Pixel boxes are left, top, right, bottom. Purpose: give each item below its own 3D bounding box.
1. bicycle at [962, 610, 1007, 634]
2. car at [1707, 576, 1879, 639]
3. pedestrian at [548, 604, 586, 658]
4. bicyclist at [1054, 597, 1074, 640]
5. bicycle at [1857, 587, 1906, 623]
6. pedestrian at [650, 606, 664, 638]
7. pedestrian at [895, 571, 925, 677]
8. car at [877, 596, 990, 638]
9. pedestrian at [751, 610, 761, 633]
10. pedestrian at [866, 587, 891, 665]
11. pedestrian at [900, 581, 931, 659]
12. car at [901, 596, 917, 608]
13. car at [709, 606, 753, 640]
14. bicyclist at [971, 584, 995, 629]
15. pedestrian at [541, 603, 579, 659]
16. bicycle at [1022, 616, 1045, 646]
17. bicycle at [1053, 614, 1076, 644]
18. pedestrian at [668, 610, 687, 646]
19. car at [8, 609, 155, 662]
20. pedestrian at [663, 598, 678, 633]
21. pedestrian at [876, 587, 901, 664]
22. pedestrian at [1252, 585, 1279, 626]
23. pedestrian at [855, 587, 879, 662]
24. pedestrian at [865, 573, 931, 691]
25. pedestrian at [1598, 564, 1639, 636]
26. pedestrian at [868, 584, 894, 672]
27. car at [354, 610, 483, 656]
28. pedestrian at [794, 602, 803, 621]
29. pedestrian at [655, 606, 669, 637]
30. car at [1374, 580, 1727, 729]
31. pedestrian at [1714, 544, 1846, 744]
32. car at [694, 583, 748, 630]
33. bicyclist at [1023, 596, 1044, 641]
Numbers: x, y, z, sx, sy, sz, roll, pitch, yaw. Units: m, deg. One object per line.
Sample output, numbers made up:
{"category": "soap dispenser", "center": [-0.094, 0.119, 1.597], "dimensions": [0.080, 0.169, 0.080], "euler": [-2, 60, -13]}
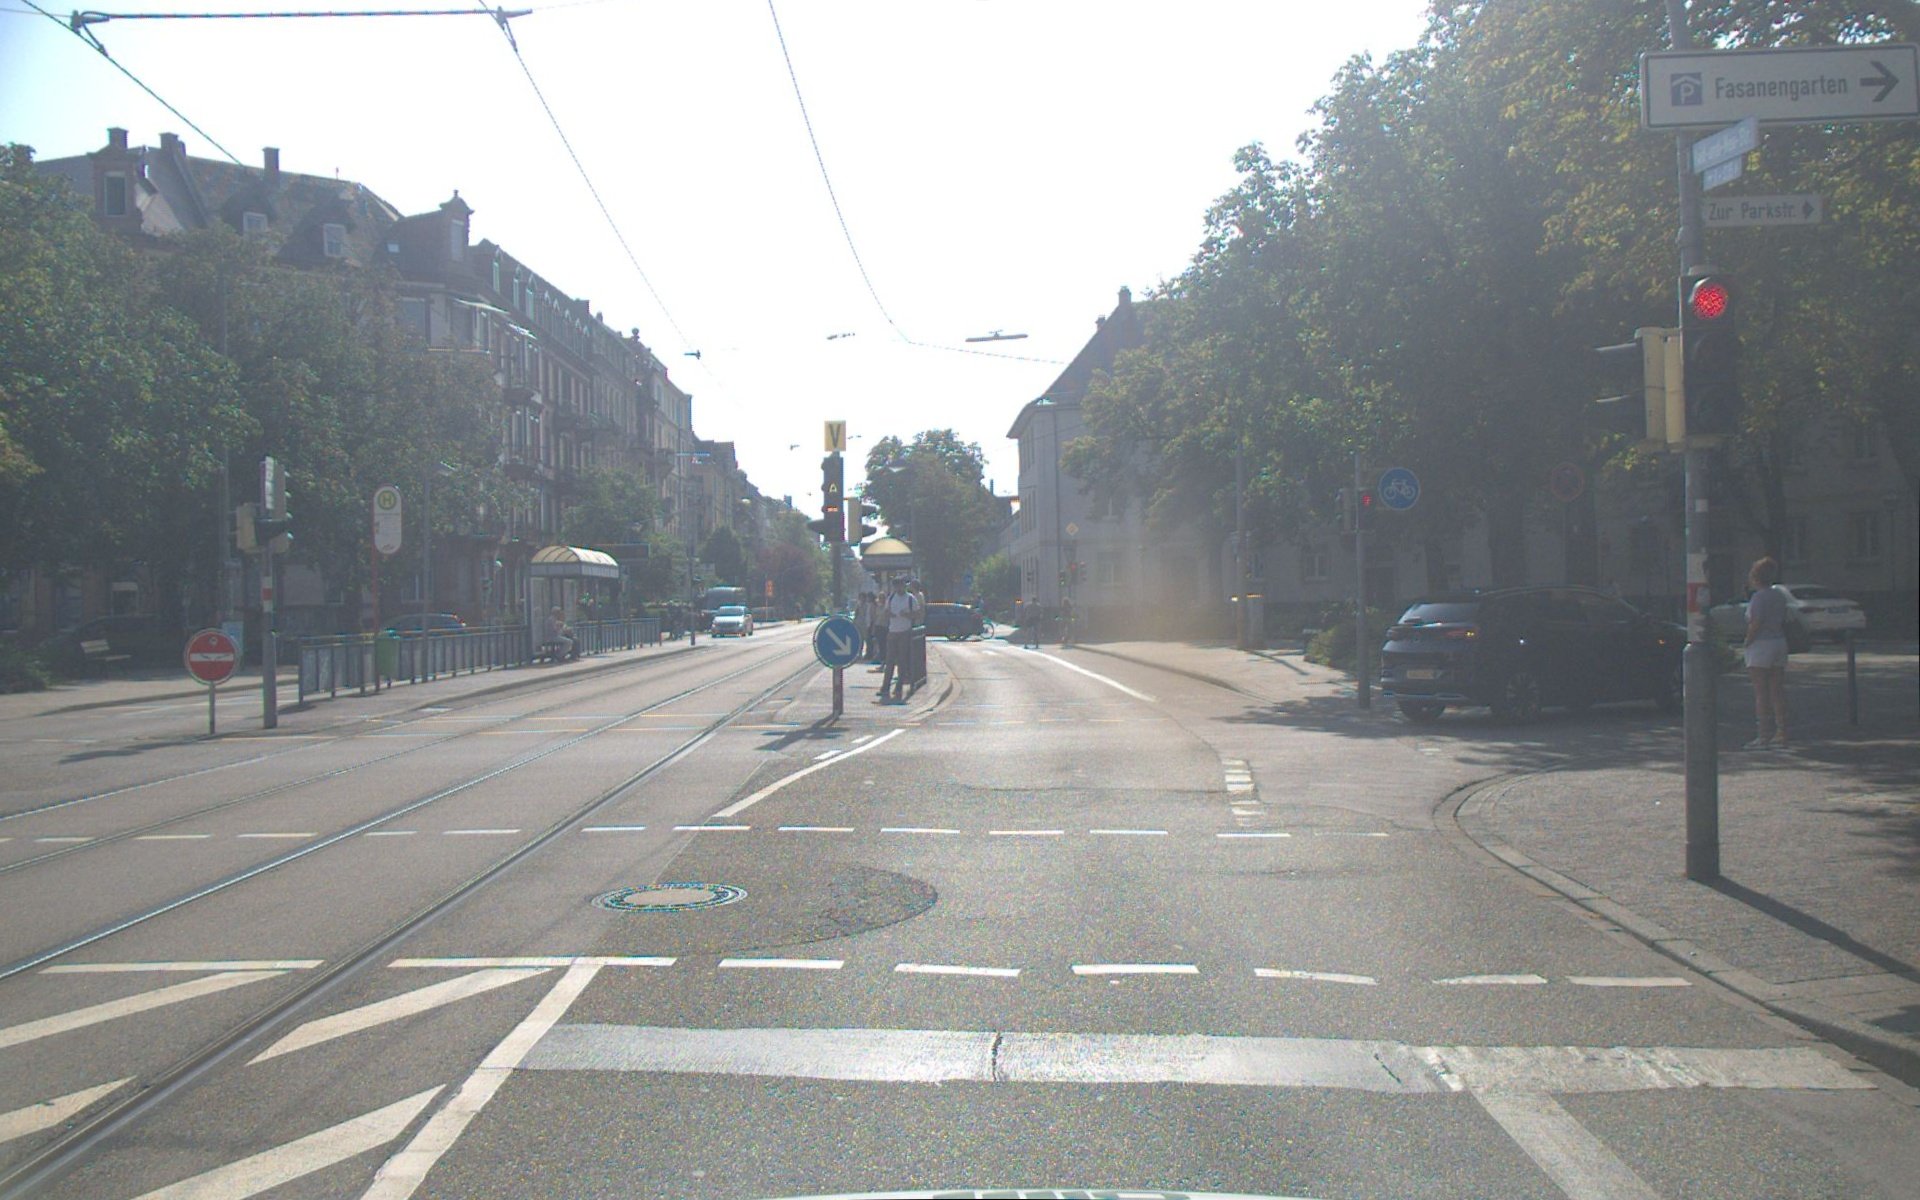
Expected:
{"category": "bicycle", "center": [1.039, 0.933, 70.424], "dimensions": [1.895, 0.995, 0.497], "euler": [-1, 0, 4]}
{"category": "car", "center": [20.870, 0.180, 41.631], "dimensions": [1.721, 1.453, 4.135], "euler": [-2, 0, -10]}
{"category": "pedestrian", "center": [-10.180, 0.793, 42.868], "dimensions": [0.812, 1.382, 0.775], "euler": [-1, 0, -6]}
{"category": "bicyclist", "center": [3.571, 0.627, 56.673], "dimensions": [0.547, 1.441, 0.871], "euler": [-2, 0, -3]}
{"category": "bicycle", "center": [26.254, 0.128, 47.135], "dimensions": [0.416, 0.995, 1.554], "euler": [-2, 0, -4]}
{"category": "pedestrian", "center": [-17.191, 1.230, 93.807], "dimensions": [0.736, 1.761, 0.769], "euler": [-1, 0, -10]}
{"category": "pedestrian", "center": [-0.895, 0.429, 29.763], "dimensions": [0.494, 1.866, 0.534], "euler": [1, 2, -1]}
{"category": "car", "center": [-1.091, 0.709, 68.133], "dimensions": [4.231, 1.596, 2.001], "euler": [-1, 0, 17]}
{"category": "pedestrian", "center": [-16.110, 1.676, 130.694], "dimensions": [0.736, 1.761, 0.769], "euler": [-1, 0, -10]}
{"category": "pedestrian", "center": [-1.885, 0.597, 38.450], "dimensions": [0.532, 1.790, 0.534], "euler": [1, 2, -2]}
{"category": "pedestrian", "center": [-1.045, 0.463, 38.660], "dimensions": [0.694, 1.790, 0.534], "euler": [1, 2, -2]}
{"category": "car", "center": [-7.934, 0.299, 257.237], "dimensions": [1.951, 1.814, 4.002], "euler": [0, 0, 5]}
{"category": "car", "center": [-11.924, 1.156, 86.175], "dimensions": [1.765, 1.682, 3.642], "euler": [-1, 0, -1]}
{"category": "bicyclist", "center": [0.969, 0.290, 70.432], "dimensions": [0.965, 1.890, 0.493], "euler": [-1, 0, 4]}
{"category": "pedestrian", "center": [-10.132, 0.789, 41.893], "dimensions": [0.812, 1.382, 0.775], "euler": [-1, 0, -6]}
{"category": "bicycle", "center": [2.537, 1.068, 57.279], "dimensions": [0.616, 0.995, 1.769], "euler": [-2, 0, -3]}
{"category": "bicycle", "center": [3.587, 0.990, 56.658], "dimensions": [0.547, 0.995, 1.855], "euler": [-2, 0, -3]}
{"category": "pedestrian", "center": [-14.112, 1.409, 82.616], "dimensions": [0.734, 1.761, 0.771], "euler": [-1, 0, 1]}
{"category": "car", "center": [-29.512, 1.172, 55.713], "dimensions": [4.270, 1.596, 1.983], "euler": [-1, 0, -27]}
{"category": "pedestrian", "center": [-14.845, 0.811, 84.865], "dimensions": [0.736, 1.761, 0.769], "euler": [-1, 0, -10]}
{"category": "pedestrian", "center": [-1.698, 0.592, 39.263], "dimensions": [0.532, 1.790, 0.534], "euler": [1, 2, -2]}
{"category": "pedestrian", "center": [13.182, 0.232, 71.337], "dimensions": [0.875, 1.771, 0.774], "euler": [-2, 0, 31]}
{"category": "pedestrian", "center": [-2.283, 0.600, 40.668], "dimensions": [0.521, 1.790, 0.545], "euler": [1, 2, 0]}
{"category": "pedestrian", "center": [-0.952, 0.470, 25.495], "dimensions": [0.687, 1.755, 0.746], "euler": [2, 2, 31]}
{"category": "pedestrian", "center": [16.498, -0.004, 41.451], "dimensions": [0.872, 1.771, 0.776], "euler": [-1, 0, 18]}
{"category": "pedestrian", "center": [-1.650, 0.576, 34.447], "dimensions": [0.494, 1.790, 0.534], "euler": [1, 2, -1]}
{"category": "car", "center": [-20.592, 1.246, 62.975], "dimensions": [4.288, 1.596, 1.975], "euler": [-1, 0, -36]}
{"category": "pedestrian", "center": [-14.932, 1.090, 152.687], "dimensions": [0.736, 1.761, 0.769], "euler": [-1, 0, -10]}
{"category": "pedestrian", "center": [-17.430, 1.246, 96.818], "dimensions": [0.736, 1.761, 0.769], "euler": [-1, 0, -10]}
{"category": "car", "center": [7.142, 0.592, 19.927], "dimensions": [4.164, 1.541, 1.598], "euler": [-2, 1, -27]}
{"category": "pedestrian", "center": [7.495, 0.392, 15.139], "dimensions": [0.736, 1.761, 0.769], "euler": [-1, 0, -10]}
{"category": "car", "center": [-14.605, 0.390, 101.202], "dimensions": [2.298, 2.708, 5.106], "euler": [-1, 0, 2]}
{"category": "bicyclist", "center": [2.532, 0.646, 57.279], "dimensions": [0.616, 1.534, 0.678], "euler": [-2, 0, -3]}
